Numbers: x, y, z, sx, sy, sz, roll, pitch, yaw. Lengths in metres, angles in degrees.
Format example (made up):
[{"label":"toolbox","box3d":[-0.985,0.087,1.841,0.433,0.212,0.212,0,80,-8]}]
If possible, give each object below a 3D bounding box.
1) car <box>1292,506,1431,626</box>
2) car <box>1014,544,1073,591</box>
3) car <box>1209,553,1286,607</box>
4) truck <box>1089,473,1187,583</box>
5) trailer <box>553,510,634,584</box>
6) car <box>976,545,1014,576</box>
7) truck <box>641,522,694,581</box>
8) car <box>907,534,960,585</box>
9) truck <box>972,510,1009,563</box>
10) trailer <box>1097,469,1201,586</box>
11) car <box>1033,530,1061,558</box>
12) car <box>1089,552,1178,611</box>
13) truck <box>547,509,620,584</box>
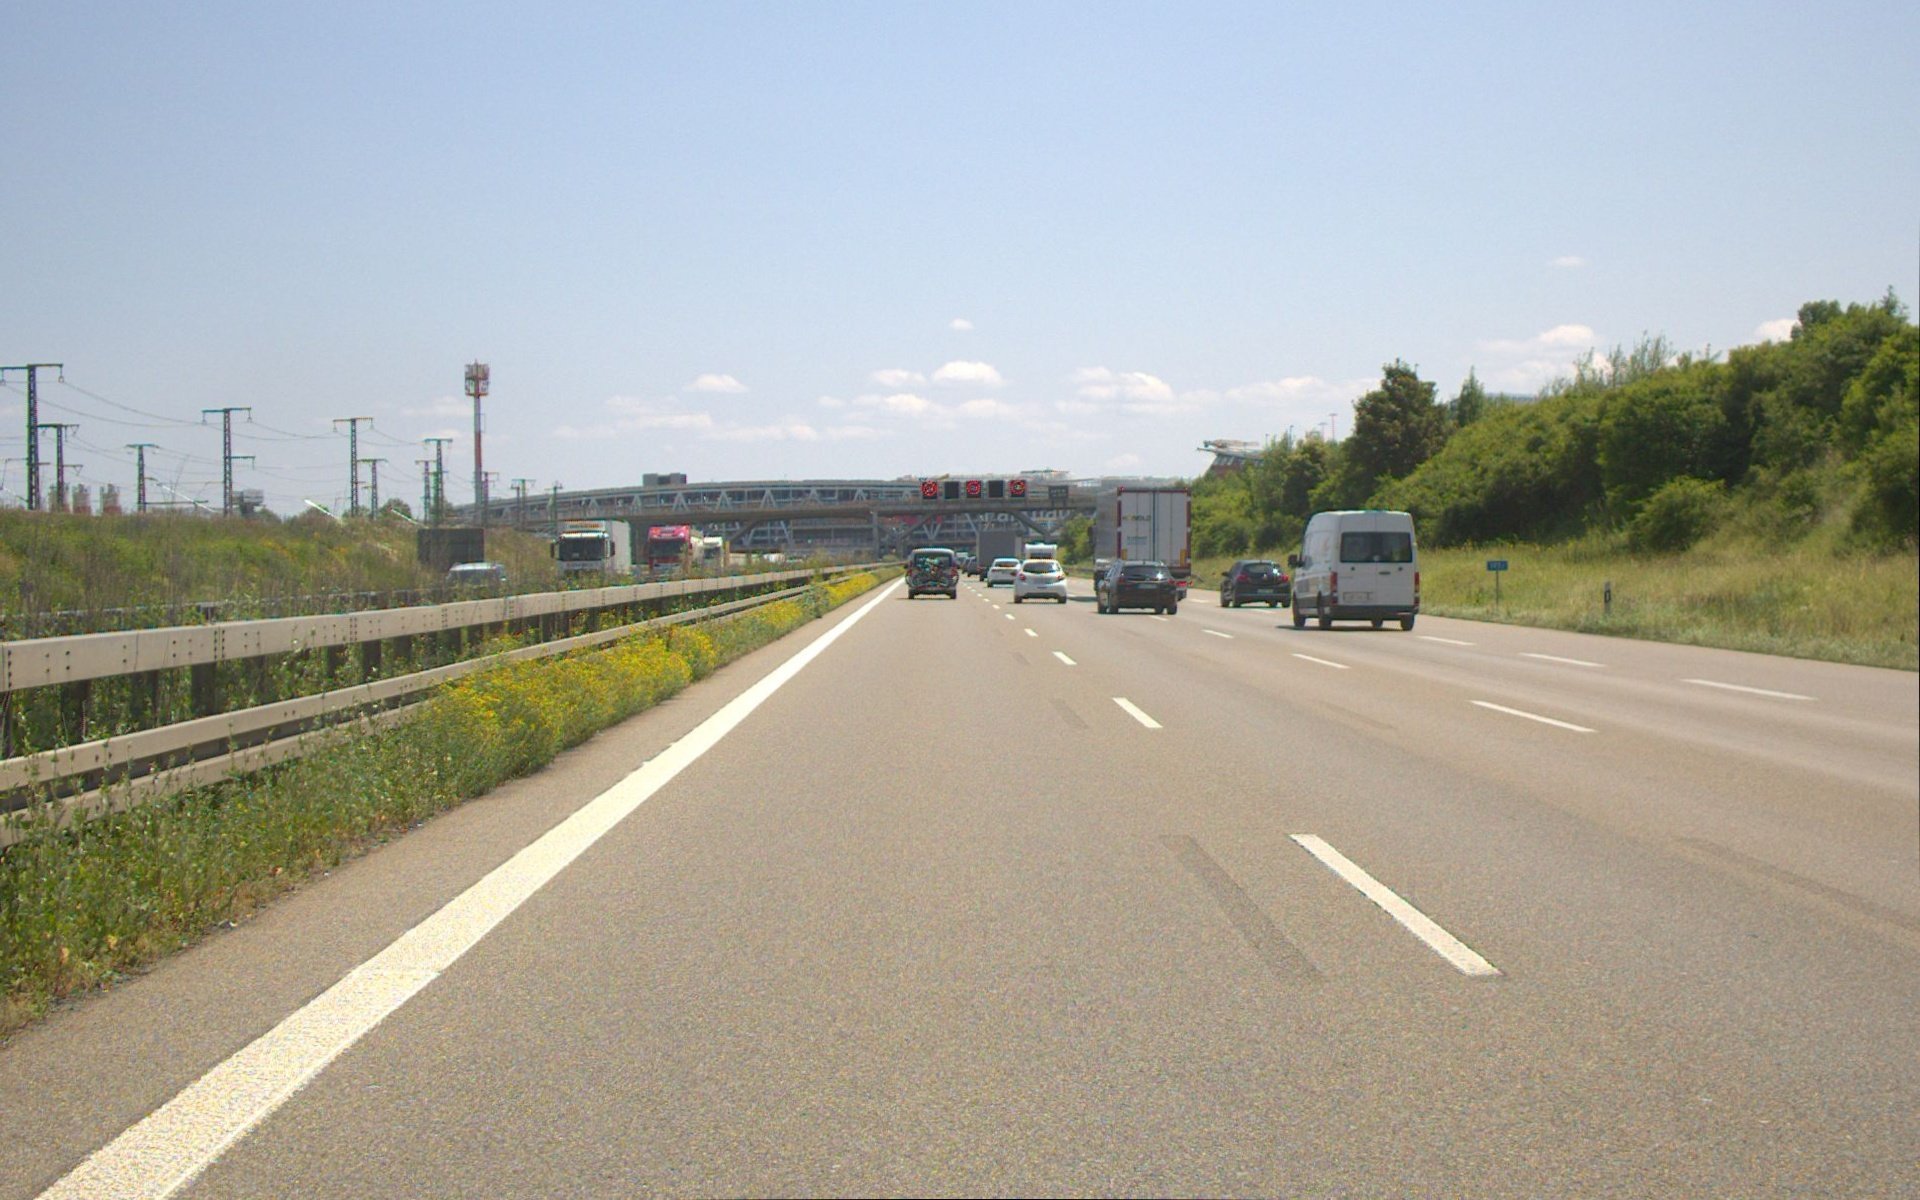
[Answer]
[{"label":"car","box3d":[8.711,-0.769,75.077,2.274,2.519,5.400,0,1,-1]},{"label":"car","box3d":[2.801,-1.062,115.035,1.881,1.521,4.000,1,0,3]},{"label":"car","box3d":[9.021,-0.623,108.037,1.993,1.590,4.000,1,0,-1]},{"label":"truck","box3d":[6.758,-2.743,131.959,3.177,4.045,9.440,-1,1,0]},{"label":"trailer","box3d":[-17.573,-2.545,165.384,2.787,3.377,9.583,1,1,0]},{"label":"car","box3d":[1.802,-2.012,176.923,1.881,1.521,4.000,1,0,1]},{"label":"truck","box3d":[-17.987,-2.967,211.757,2.787,3.509,4.713,1,1,0]},{"label":"car","box3d":[-0.960,-1.462,125.344,1.881,1.769,4.000,-1,0,0]},{"label":"truck","box3d":[1.980,-4.151,225.892,2.355,3.404,6.057,0,1,0]},{"label":"trailer","box3d":[6.775,-2.600,124.436,3.177,4.045,9.440,-1,1,0]},{"label":"car","box3d":[6.354,-4.134,252.074,1.993,2.007,4.437,-1,1,1]},{"label":"car","box3d":[4.692,-0.486,93.545,1.993,1.503,4.000,1,0,-3]},{"label":"truck","box3d":[-17.547,-2.477,160.446,2.787,3.377,4.713,1,1,0]}]
